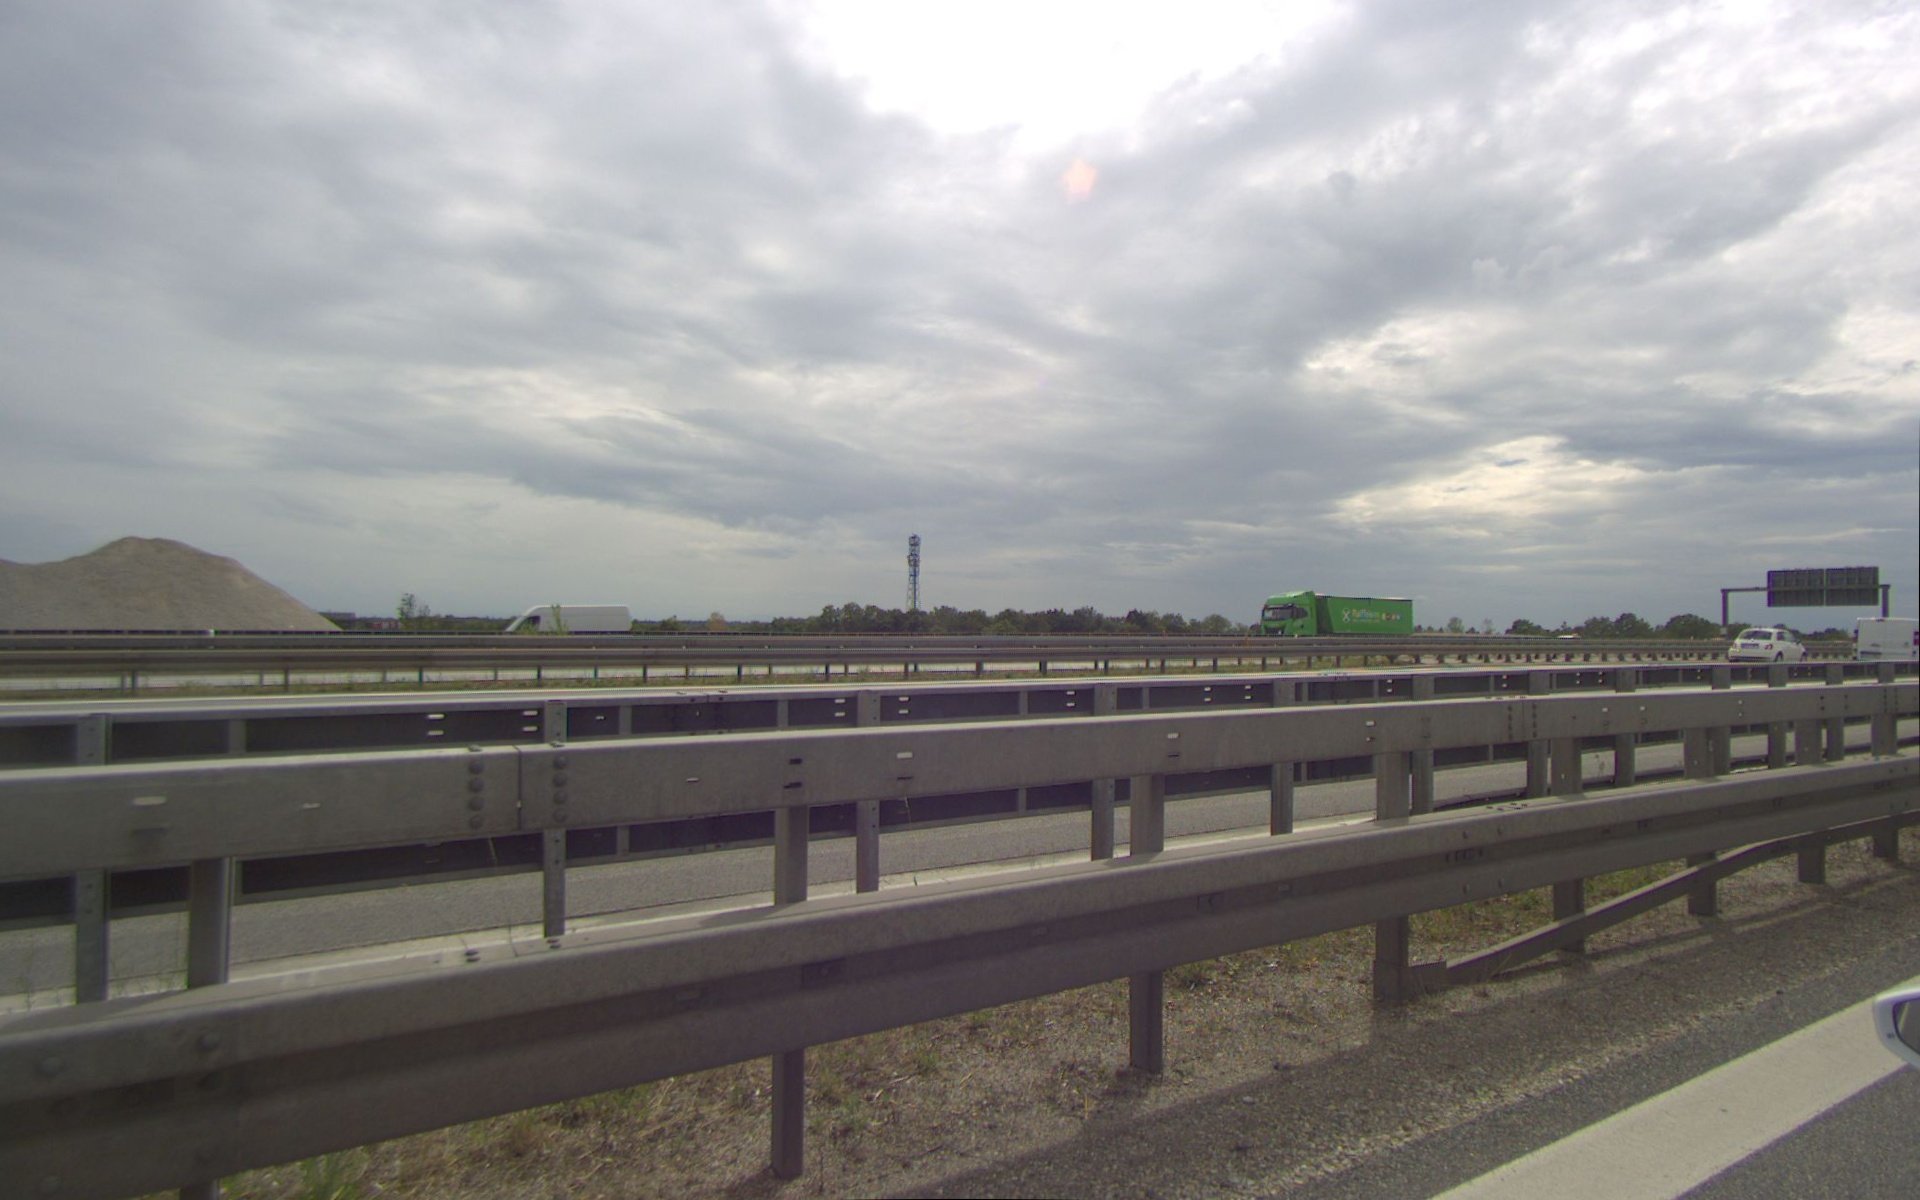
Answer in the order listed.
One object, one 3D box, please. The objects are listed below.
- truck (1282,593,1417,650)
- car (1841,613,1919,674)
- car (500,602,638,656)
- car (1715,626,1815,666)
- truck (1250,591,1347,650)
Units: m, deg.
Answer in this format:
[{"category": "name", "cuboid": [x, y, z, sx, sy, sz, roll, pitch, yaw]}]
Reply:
[{"category": "truck", "cuboid": [26.739, 1.477, 68.732, 10.320, 3.683, 2.997, 1, 0, -32]}, {"category": "car", "cuboid": [33.987, 1.545, 36.303, 4.324, 2.040, 1.983, 1, 0, -31]}, {"category": "car", "cuboid": [-17.521, 1.298, 45.113, 5.455, 2.253, 2.185, 1, 0, -31]}, {"category": "car", "cuboid": [32.067, 1.808, 39.991, 3.952, 1.439, 1.789, 1, 0, -30]}, {"category": "truck", "cuboid": [22.207, 1.350, 65.873, 5.828, 3.657, 3.025, 1, 0, -32]}]
